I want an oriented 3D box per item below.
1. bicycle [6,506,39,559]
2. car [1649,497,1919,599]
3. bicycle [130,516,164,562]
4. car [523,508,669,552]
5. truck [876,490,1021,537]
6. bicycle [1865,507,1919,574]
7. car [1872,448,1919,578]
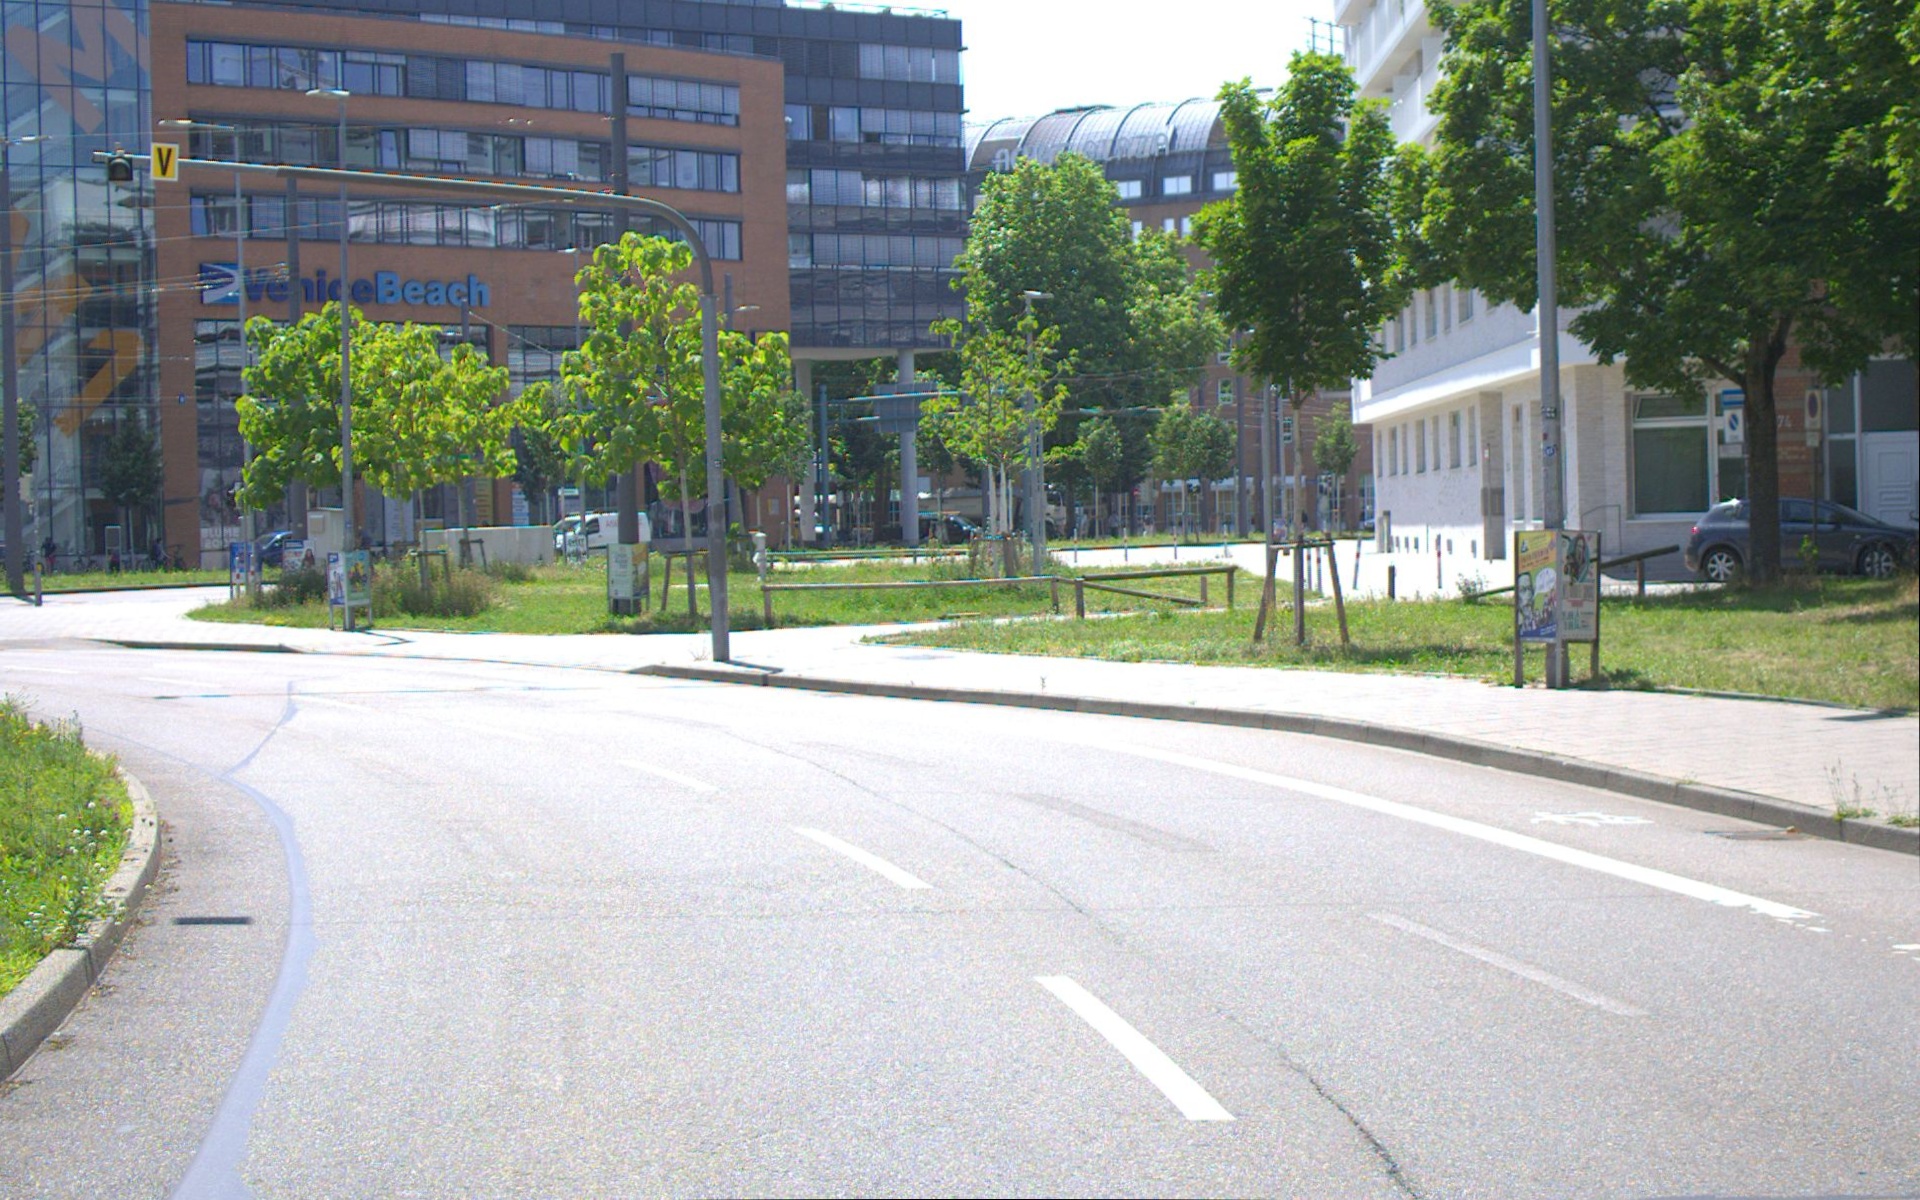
[{"bbox_3d":[-35.818,-2.591,131.371,0.485,2.007,2.346,-1,2,-34],"label":"bicycle"},{"bbox_3d":[13.615,-0.868,56.619,4.124,1.619,1.692,1,2,31],"label":"car"},{"bbox_3d":[-31.737,-2.379,134.177,0.485,1.790,2.259,-1,2,-34],"label":"bicycle"},{"bbox_3d":[-14.017,-2.707,132.587,5.465,1.662,1.999,-1,2,-41],"label":"car"},{"bbox_3d":[-0.731,-5.200,207.678,9.227,2.799,1.996,1,2,33],"label":"truck"},{"bbox_3d":[13.786,-0.847,48.790,2.044,0.932,0.508,-1,1,-29],"label":"bicycle"},{"bbox_3d":[14.043,-1.107,43.399,4.858,1.595,1.836,-1,1,-26],"label":"car"}]
